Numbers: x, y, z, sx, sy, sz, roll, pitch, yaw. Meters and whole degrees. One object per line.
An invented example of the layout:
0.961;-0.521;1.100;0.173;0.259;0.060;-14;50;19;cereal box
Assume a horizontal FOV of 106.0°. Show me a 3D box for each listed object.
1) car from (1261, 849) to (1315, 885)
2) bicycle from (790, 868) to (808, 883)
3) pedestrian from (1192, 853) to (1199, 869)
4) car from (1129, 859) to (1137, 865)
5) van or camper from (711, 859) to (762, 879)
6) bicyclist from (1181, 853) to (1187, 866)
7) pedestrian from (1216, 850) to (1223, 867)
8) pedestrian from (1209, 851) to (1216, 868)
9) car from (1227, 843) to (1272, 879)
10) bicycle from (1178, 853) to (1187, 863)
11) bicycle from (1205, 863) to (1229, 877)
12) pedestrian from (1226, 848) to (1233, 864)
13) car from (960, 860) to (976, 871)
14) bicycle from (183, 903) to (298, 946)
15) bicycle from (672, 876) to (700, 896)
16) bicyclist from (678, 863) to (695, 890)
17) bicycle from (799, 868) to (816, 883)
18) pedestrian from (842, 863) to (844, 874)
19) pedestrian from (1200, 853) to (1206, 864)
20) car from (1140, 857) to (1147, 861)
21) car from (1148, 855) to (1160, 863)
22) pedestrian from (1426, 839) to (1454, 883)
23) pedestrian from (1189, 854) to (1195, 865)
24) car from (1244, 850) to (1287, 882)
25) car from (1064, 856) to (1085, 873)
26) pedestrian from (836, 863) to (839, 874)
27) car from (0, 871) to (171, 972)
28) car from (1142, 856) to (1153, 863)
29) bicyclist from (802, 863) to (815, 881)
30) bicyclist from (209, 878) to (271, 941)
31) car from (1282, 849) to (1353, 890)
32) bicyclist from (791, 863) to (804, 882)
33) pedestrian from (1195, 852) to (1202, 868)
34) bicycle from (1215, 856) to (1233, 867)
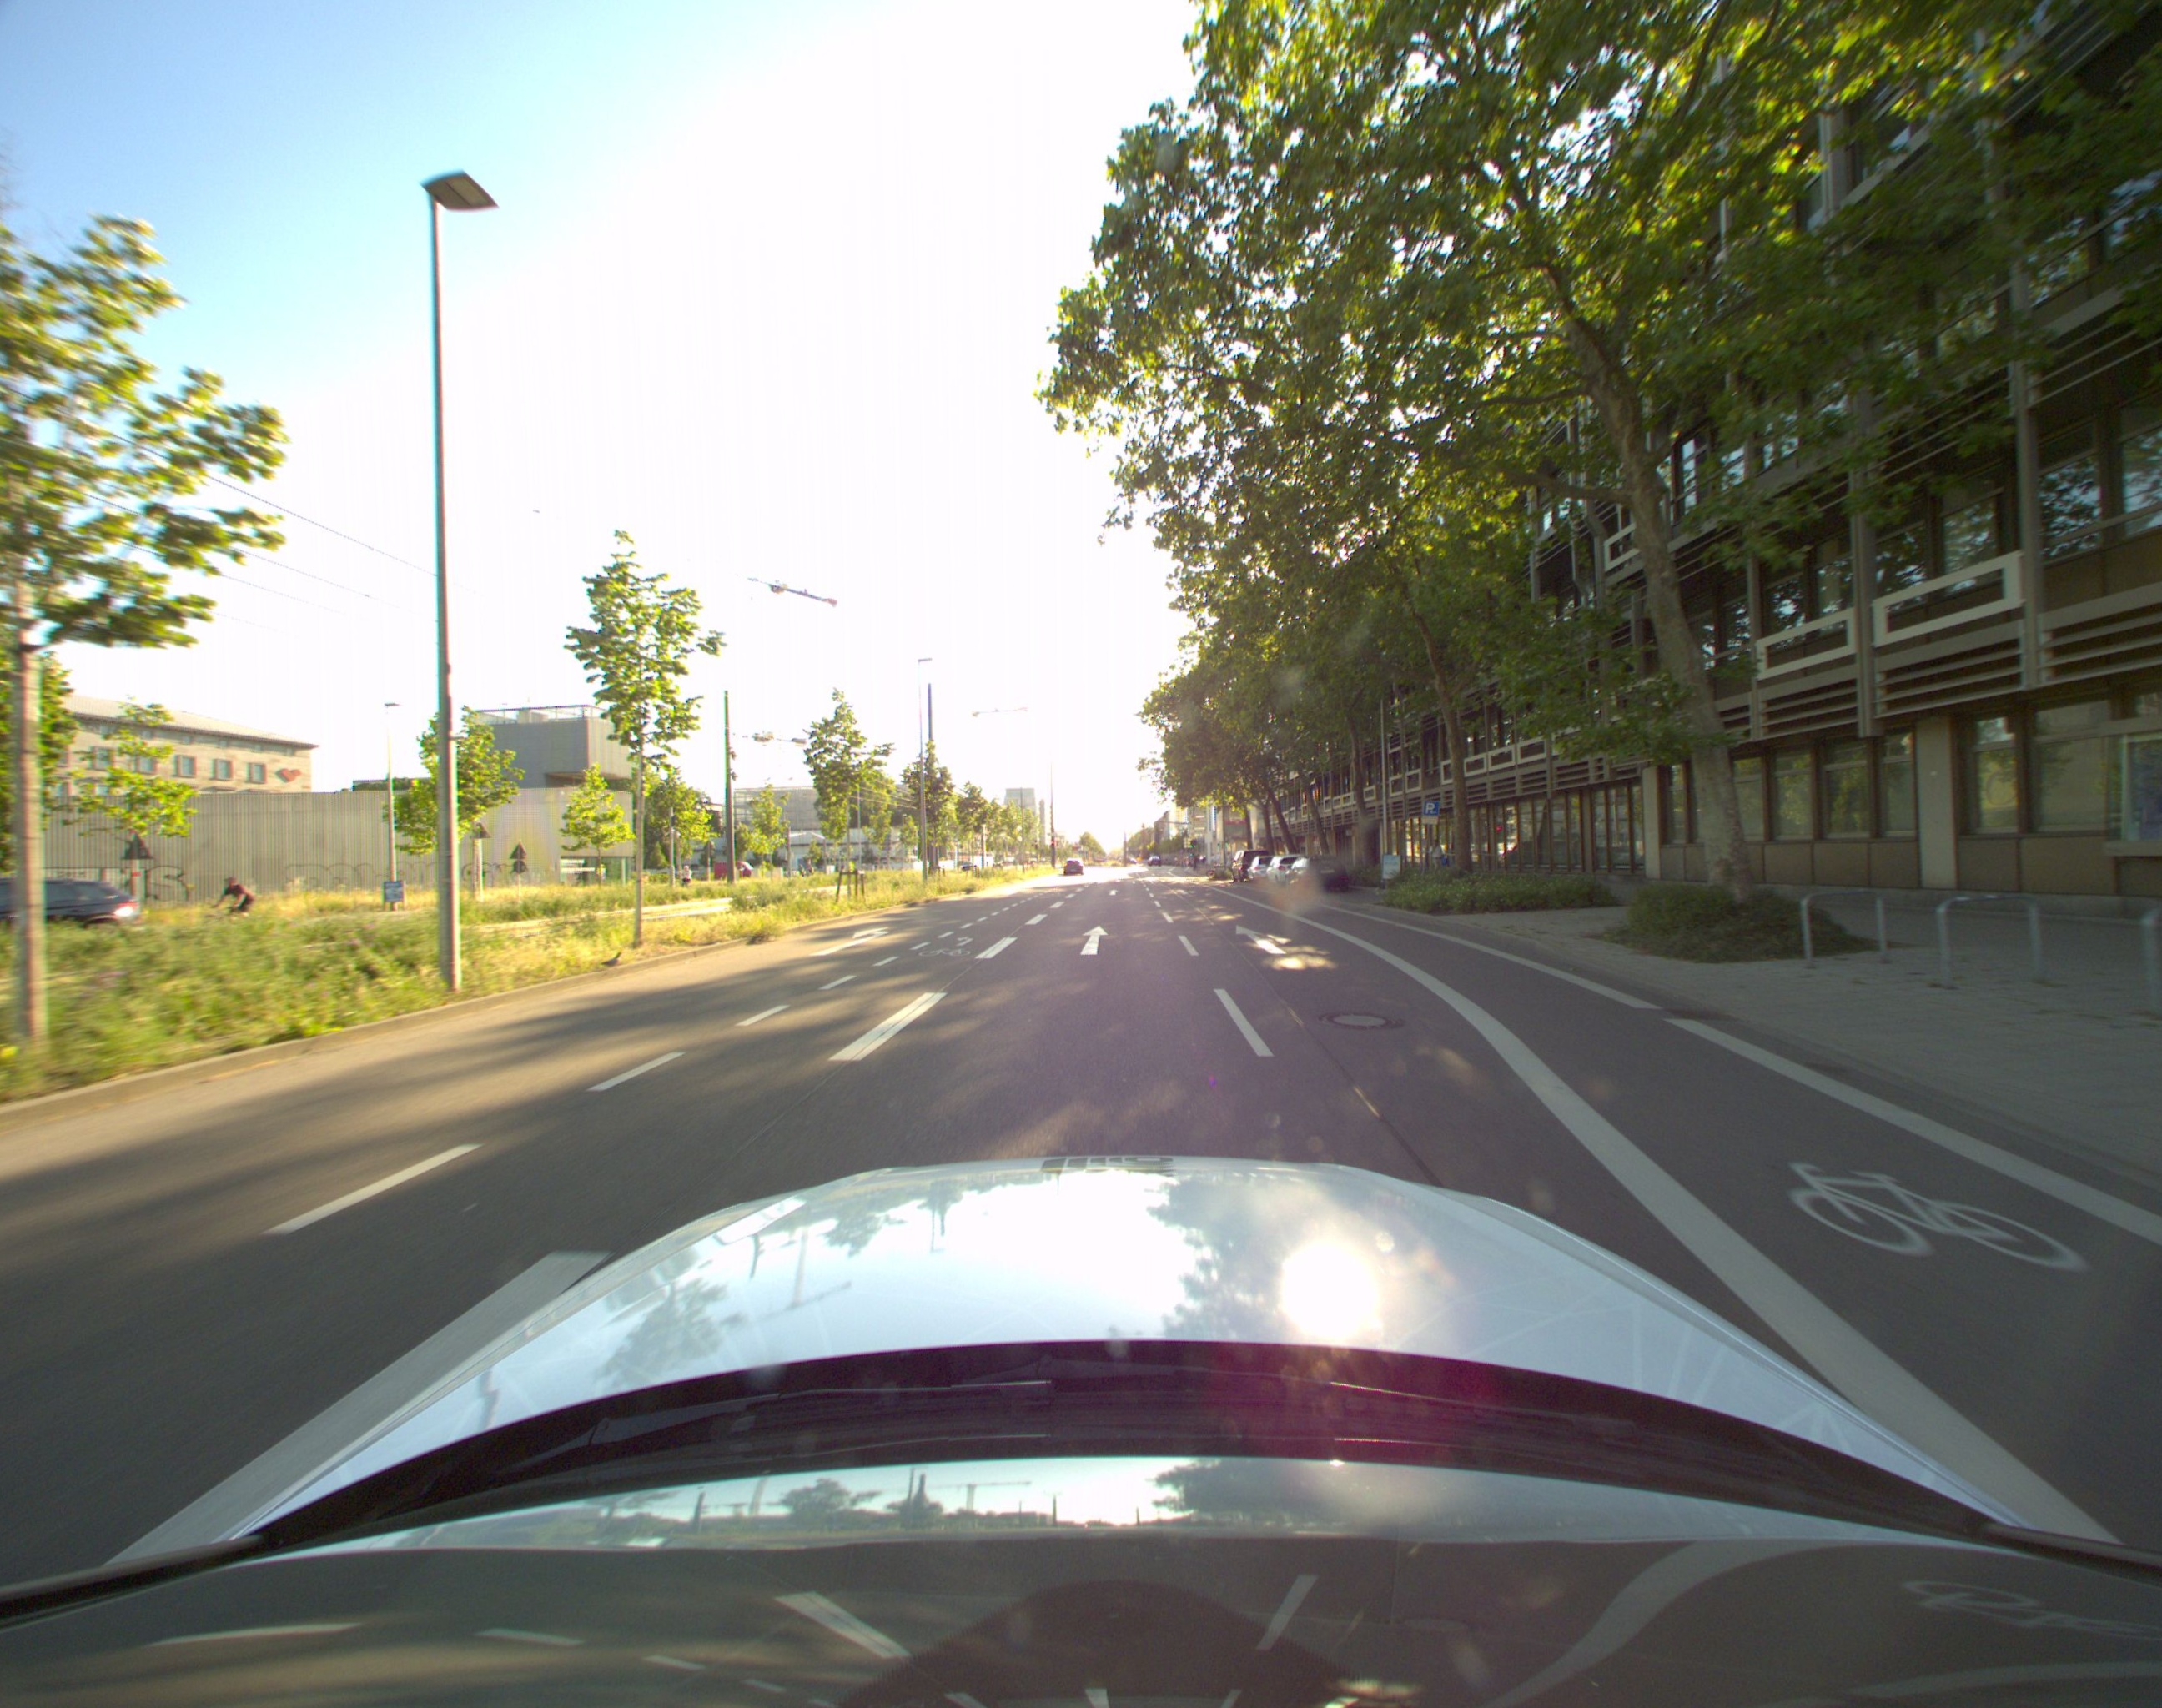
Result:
9.727;0.591;38.454;1.674;1.478;3.877;-4;0;3;car
-22.252;1.699;64.250;0.581;1.105;1.989;-1;0;3;bicycle
12.288;0.759;87.226;0.631;1.608;0.570;-3;0;3;pedestrian
13.038;1.985;205.777;1.753;1.485;3.850;-2;0;1;car
-44.791;1.913;105.841;5.635;2.414;2.157;-2;0;4;van or camper
12.773;0.673;100.978;0.796;1.602;0.787;-1;0;7;bicyclist
17.049;0.569;100.258;0.761;2.060;0.799;-3;0;9;pedestrian
16.378;0.669;101.172;0.761;2.060;0.799;-3;0;9;pedestrian
10.336;0.397;50.221;1.822;1.971;5.326;-4;0;3;car
12.589;0.479;101.048;0.794;1.204;2.272;-1;0;14;bicycle
9.758;1.136;58.458;1.681;0.867;0.574;-3;-1;11;bicycle
15.597;0.200;85.608;0.631;1.703;0.570;-3;0;3;pedestrian
-19.017;1.960;137.214;1.985;1.776;4.003;-2;0;2;car
-23.664;1.967;23.004;0.685;1.003;2.363;-2;0;3;bicycle
-22.555;1.807;46.559;0.556;1.060;1.900;-2;0;3;bicycle
-22.562;1.297;46.585;0.554;1.507;0.668;-2;0;3;bicyclist
-21.558;1.715;64.234;0.581;1.105;1.989;-1;0;3;bicycle
-32.971;1.980;112.813;0.273;1.465;0.315;-1;0;-8;pedestrian
18.734;0.716;125.022;0.813;1.734;0.791;-2;0;6;pedestrian
19.509;1.552;253.868;1.697;1.428;3.926;-2;0;1;car
13.276;0.870;147.838;1.933;1.428;3.926;-2;0;1;car
15.641;0.301;35.481;0.828;1.856;0.847;-1;0;2;pedestrian
17.089;0.843;125.110;0.813;1.734;0.791;-2;0;6;pedestrian
9.944;0.623;44.283;1.672;1.514;5.069;-4;0;7;car
-0.574;0.952;72.693;1.770;1.428;4.001;-1;0;1;car
-33.711;1.973;112.673;0.272;1.465;0.280;-1;0;3;pedestrian
-20.419;1.272;14.971;1.864;1.765;4.815;-2;0;2;car
13.727;1.100;168.697;1.933;1.485;3.926;-2;0;1;car
-21.551;1.413;64.338;0.581;1.442;1.076;-1;0;3;bicyclist
-23.672;1.548;22.937;0.685;1.708;0.954;-2;0;2;bicyclist
9.240;0.579;32.180;1.699;1.418;4.280;-4;0;3;car
-22.271;1.460;64.072;0.581;1.442;1.076;-1;0;3;bicyclist
12.654;0.670;87.932;0.631;1.703;0.570;-3;0;3;pedestrian
15.206;0.795;86.723;1.795;1.086;0.479;-3;0;4;bicycle
